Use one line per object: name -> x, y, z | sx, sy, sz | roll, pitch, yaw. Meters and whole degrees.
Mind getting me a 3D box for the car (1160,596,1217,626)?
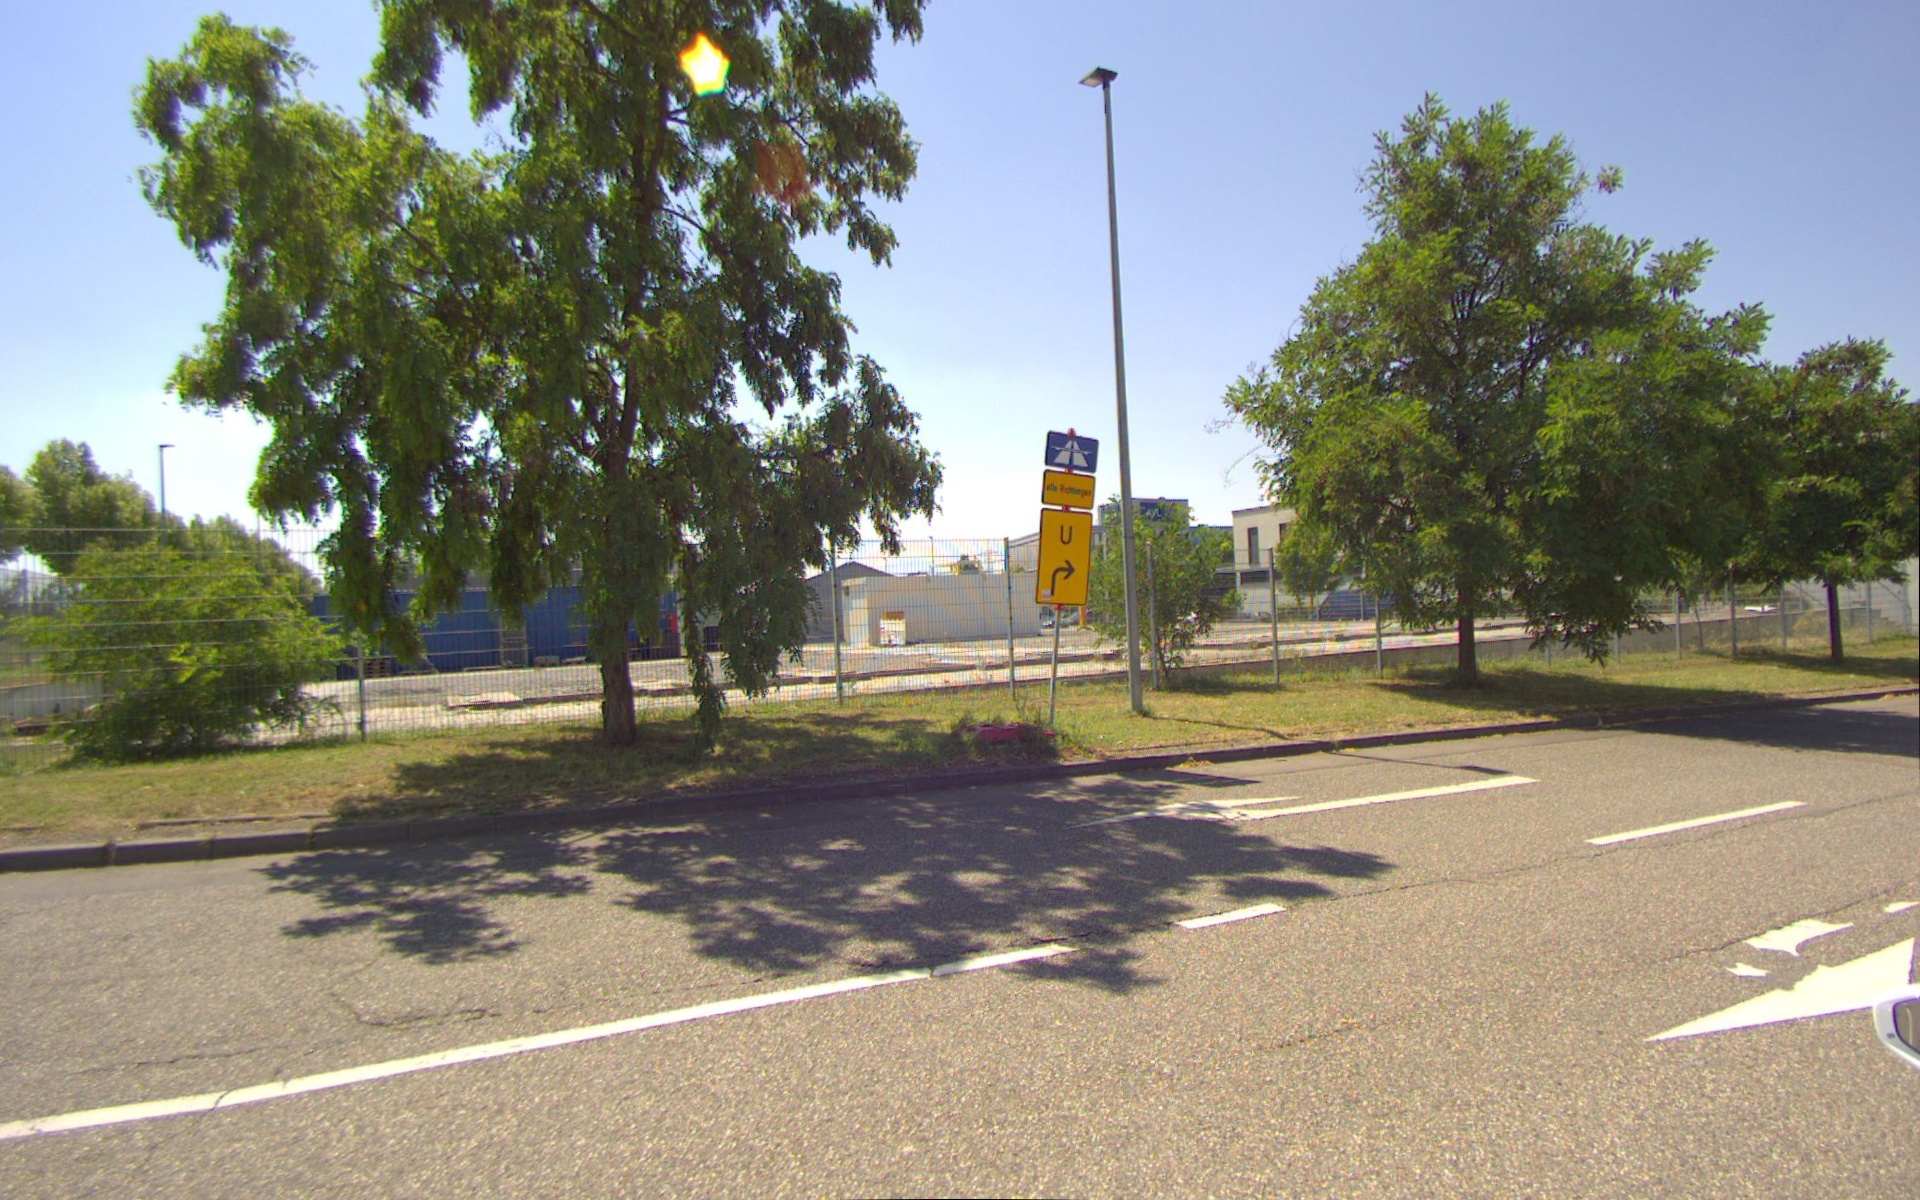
car -> 16.969, 0.815, 74.751 | 1.945, 2.040, 3.973 | -4, 2, -26
